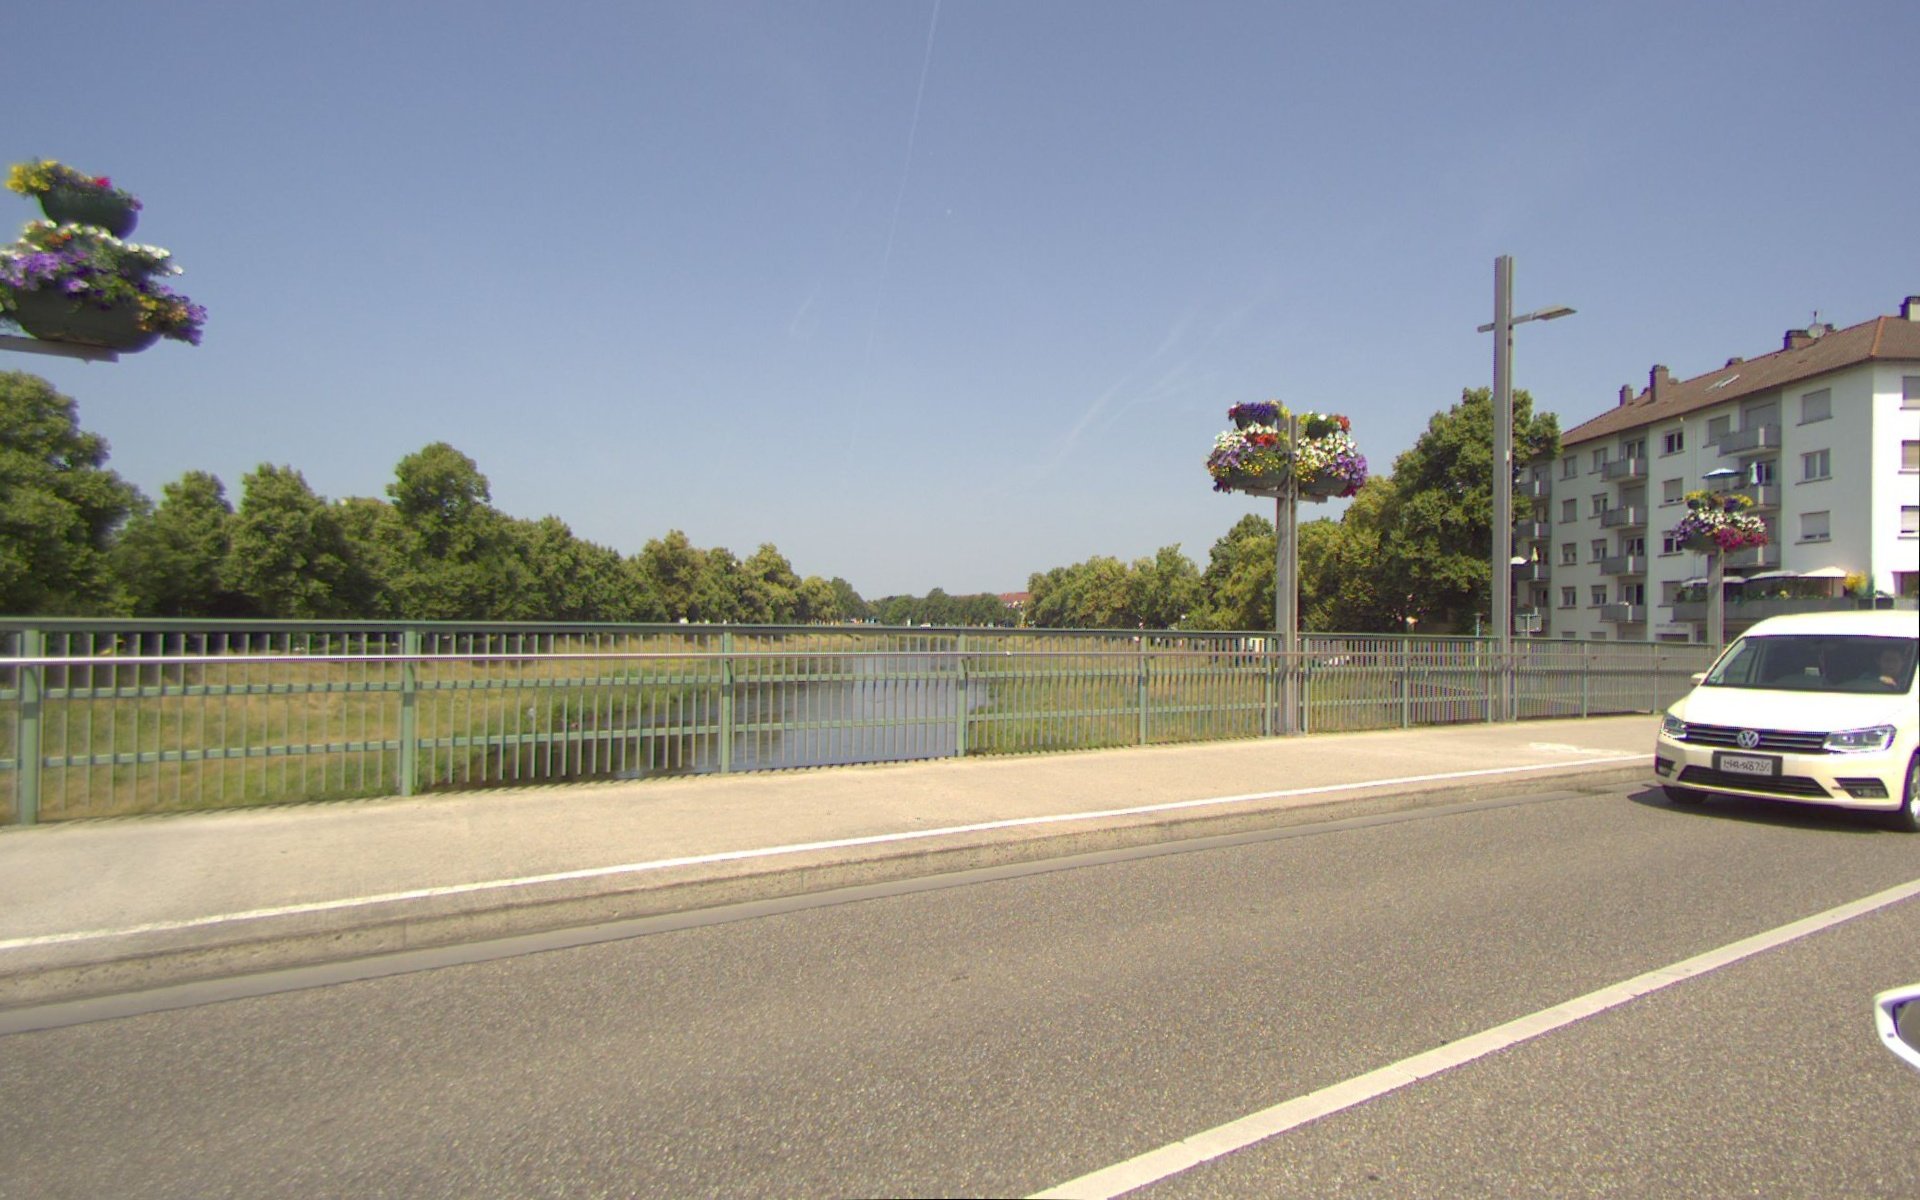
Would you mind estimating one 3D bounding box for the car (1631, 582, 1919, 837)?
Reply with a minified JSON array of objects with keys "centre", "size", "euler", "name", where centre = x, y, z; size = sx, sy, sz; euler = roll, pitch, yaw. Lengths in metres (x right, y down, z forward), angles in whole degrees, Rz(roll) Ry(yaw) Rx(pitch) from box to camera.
[{"centre":[8.340,0.900,9.424],"size":[4.597,1.882,1.749],"euler":[2,-2,-33],"name":"car"}]
